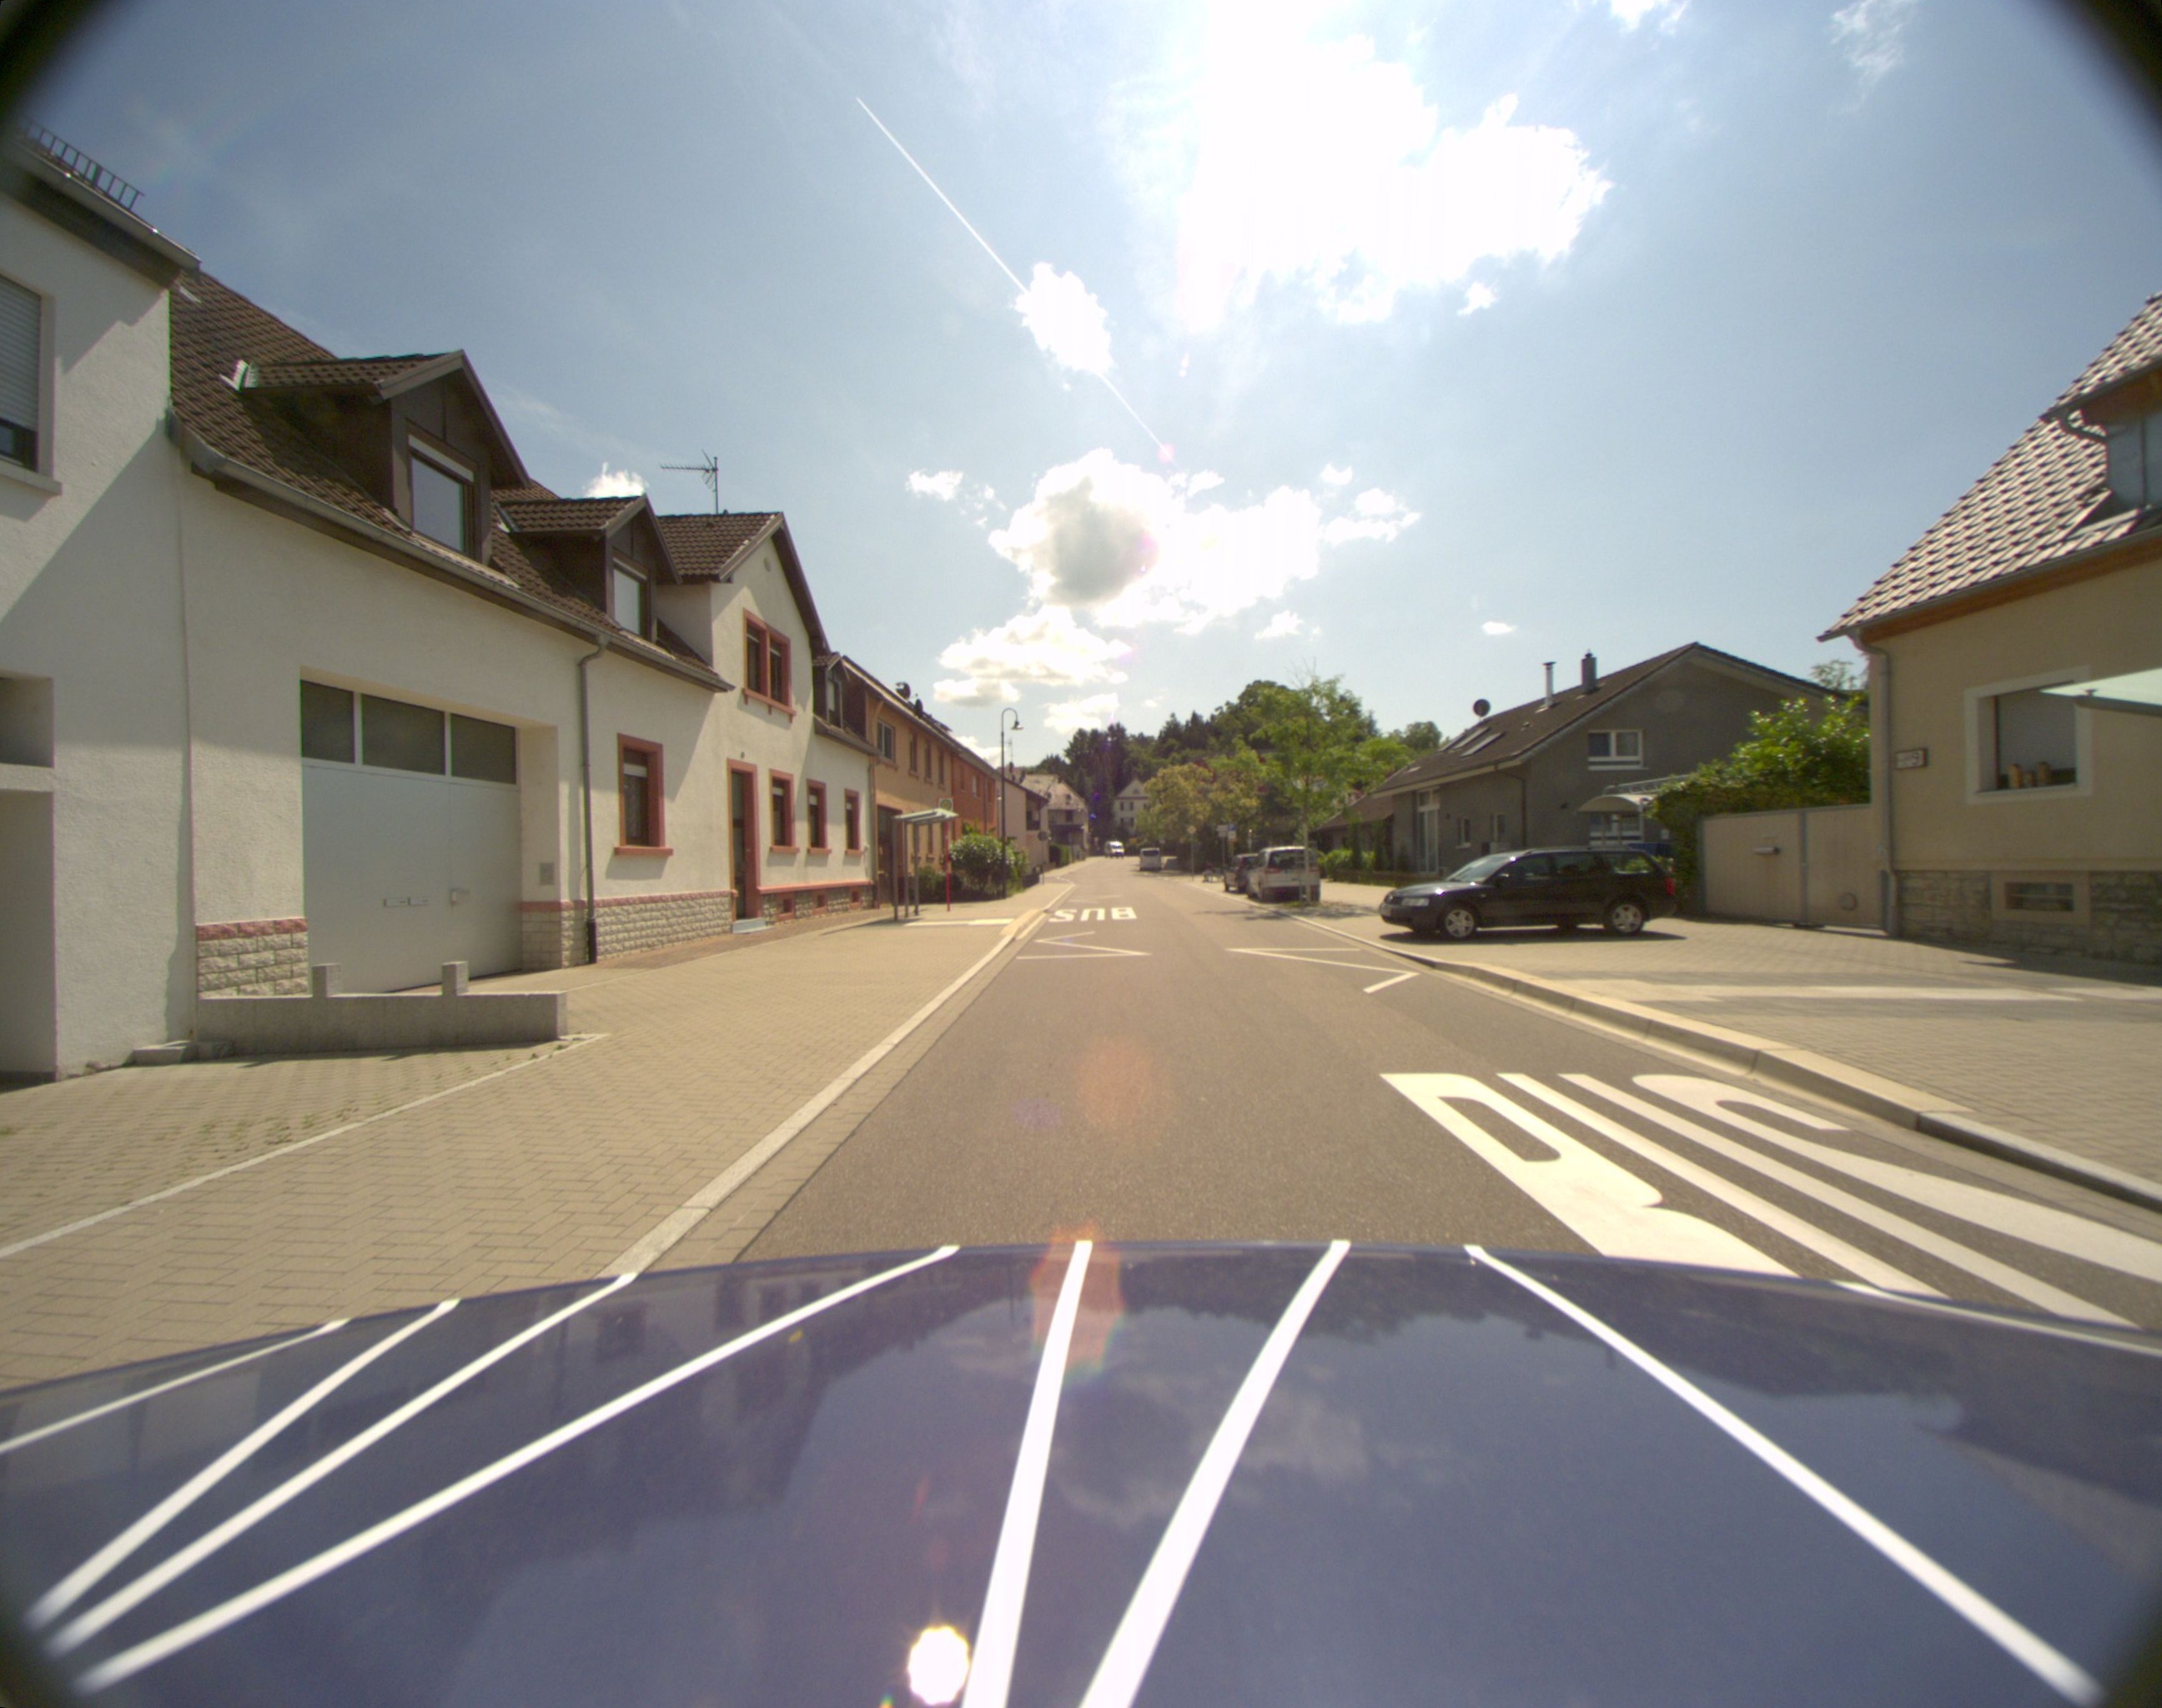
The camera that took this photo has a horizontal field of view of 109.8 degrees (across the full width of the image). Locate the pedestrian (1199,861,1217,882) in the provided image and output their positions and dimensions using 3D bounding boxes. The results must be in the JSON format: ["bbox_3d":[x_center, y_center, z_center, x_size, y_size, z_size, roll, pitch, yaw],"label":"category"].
[{"bbox_3d":[7.302,1.012,43.790,0.815,1.135,0.885,-3,1,-2],"label":"pedestrian"}]

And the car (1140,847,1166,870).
[{"bbox_3d":[6.546,0.356,69.433,1.998,1.968,4.000,-1,1,1],"label":"car"}]

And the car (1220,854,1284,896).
[{"bbox_3d":[6.944,0.831,31.212,1.726,1.515,3.910,-3,-1,1],"label":"car"}]

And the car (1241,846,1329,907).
[{"bbox_3d":[6.613,0.716,25.135,1.843,1.737,4.688,-3,-1,4],"label":"car"}]

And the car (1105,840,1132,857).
[{"bbox_3d":[5.631,-0.808,115.841,2.492,2.306,5.593,-3,1,-15],"label":"car"}]

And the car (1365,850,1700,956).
[{"bbox_3d":[7.568,0.789,13.124,4.598,1.508,1.902,-2,0,2],"label":"car"}]

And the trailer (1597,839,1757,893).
[{"bbox_3d":[17.888,0.327,22.902,3.642,1.380,1.585,-3,1,-4],"label":"trailer"}]
